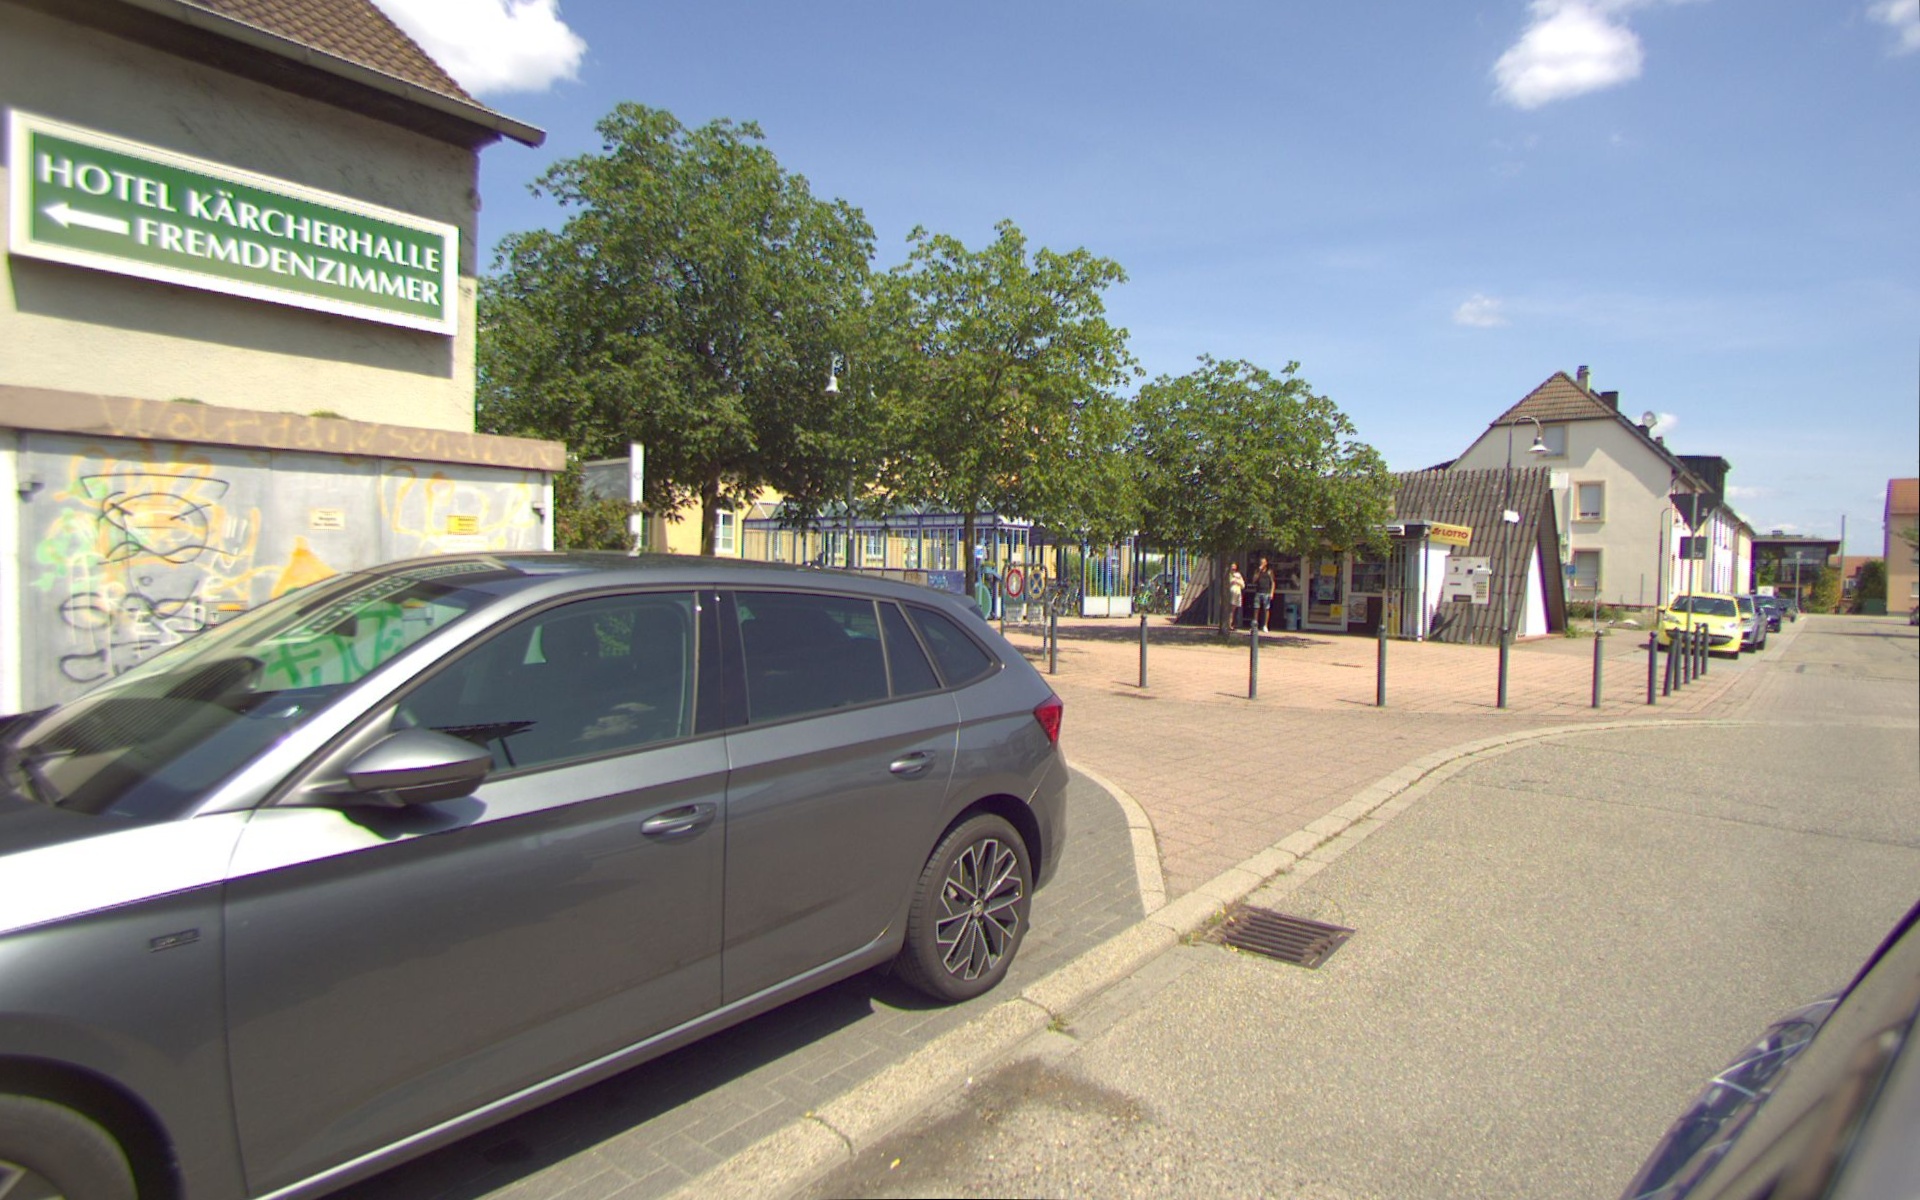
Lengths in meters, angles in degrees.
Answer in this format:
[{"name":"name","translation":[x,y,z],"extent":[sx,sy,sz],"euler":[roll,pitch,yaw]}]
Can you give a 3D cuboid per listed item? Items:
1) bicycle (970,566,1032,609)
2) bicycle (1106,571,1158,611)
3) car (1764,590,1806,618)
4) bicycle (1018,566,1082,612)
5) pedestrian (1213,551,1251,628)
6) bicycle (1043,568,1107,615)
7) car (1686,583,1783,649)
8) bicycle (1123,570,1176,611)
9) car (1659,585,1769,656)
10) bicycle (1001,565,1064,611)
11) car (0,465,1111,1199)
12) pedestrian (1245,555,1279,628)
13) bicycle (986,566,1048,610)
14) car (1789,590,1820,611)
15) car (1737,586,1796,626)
[{"name":"bicycle","translation":[1.349,-0.400,33.005],"extent":[0.604,1.367,2.315],"euler":[3,2,44]},{"name":"bicycle","translation":[6.178,-0.335,36.159],"extent":[0.604,1.367,2.315],"euler":[3,2,44]},{"name":"car","translation":[50.257,0.222,61.609],"extent":[1.716,1.518,4.152],"euler":[7,5,41]},{"name":"bicycle","translation":[2.782,-0.337,31.110],"extent":[0.604,1.367,2.315],"euler":[3,2,44]},{"name":"pedestrian","translation":[6.545,-0.248,24.358],"extent":[0.667,1.811,0.550],"euler":[2,1,-7]},{"name":"bicycle","translation":[3.508,-0.258,30.741],"extent":[0.604,1.367,2.315],"euler":[3,2,44]},{"name":"car","translation":[21.415,0.394,27.921],"extent":[1.716,1.518,4.152],"euler":[7,5,41]},{"name":"bicycle","translation":[6.683,-0.325,35.604],"extent":[0.604,1.367,2.315],"euler":[3,2,44]},{"name":"car","translation":[18.356,0.438,24.569],"extent":[1.716,1.414,4.152],"euler":[8,5,41]},{"name":"bicycle","translation":[2.295,-0.368,31.714],"extent":[0.604,1.367,2.315],"euler":[3,2,44]},{"name":"car","translation":[-1.345,0.507,2.950],"extent":[1.626,1.507,4.080],"euler":[3,2,40]},{"name":"pedestrian","translation":[7.278,-0.206,24.424],"extent":[0.586,1.741,0.465],"euler":[2,1,-7]},{"name":"bicycle","translation":[1.844,-0.385,32.427],"extent":[0.604,1.367,2.315],"euler":[3,2,44]},{"name":"car","translation":[70.050,0.030,83.935],"extent":[1.716,1.518,4.152],"euler":[7,5,41]},{"name":"car","translation":[35.820,0.246,44.922],"extent":[1.716,1.518,4.152],"euler":[7,5,41]}]
